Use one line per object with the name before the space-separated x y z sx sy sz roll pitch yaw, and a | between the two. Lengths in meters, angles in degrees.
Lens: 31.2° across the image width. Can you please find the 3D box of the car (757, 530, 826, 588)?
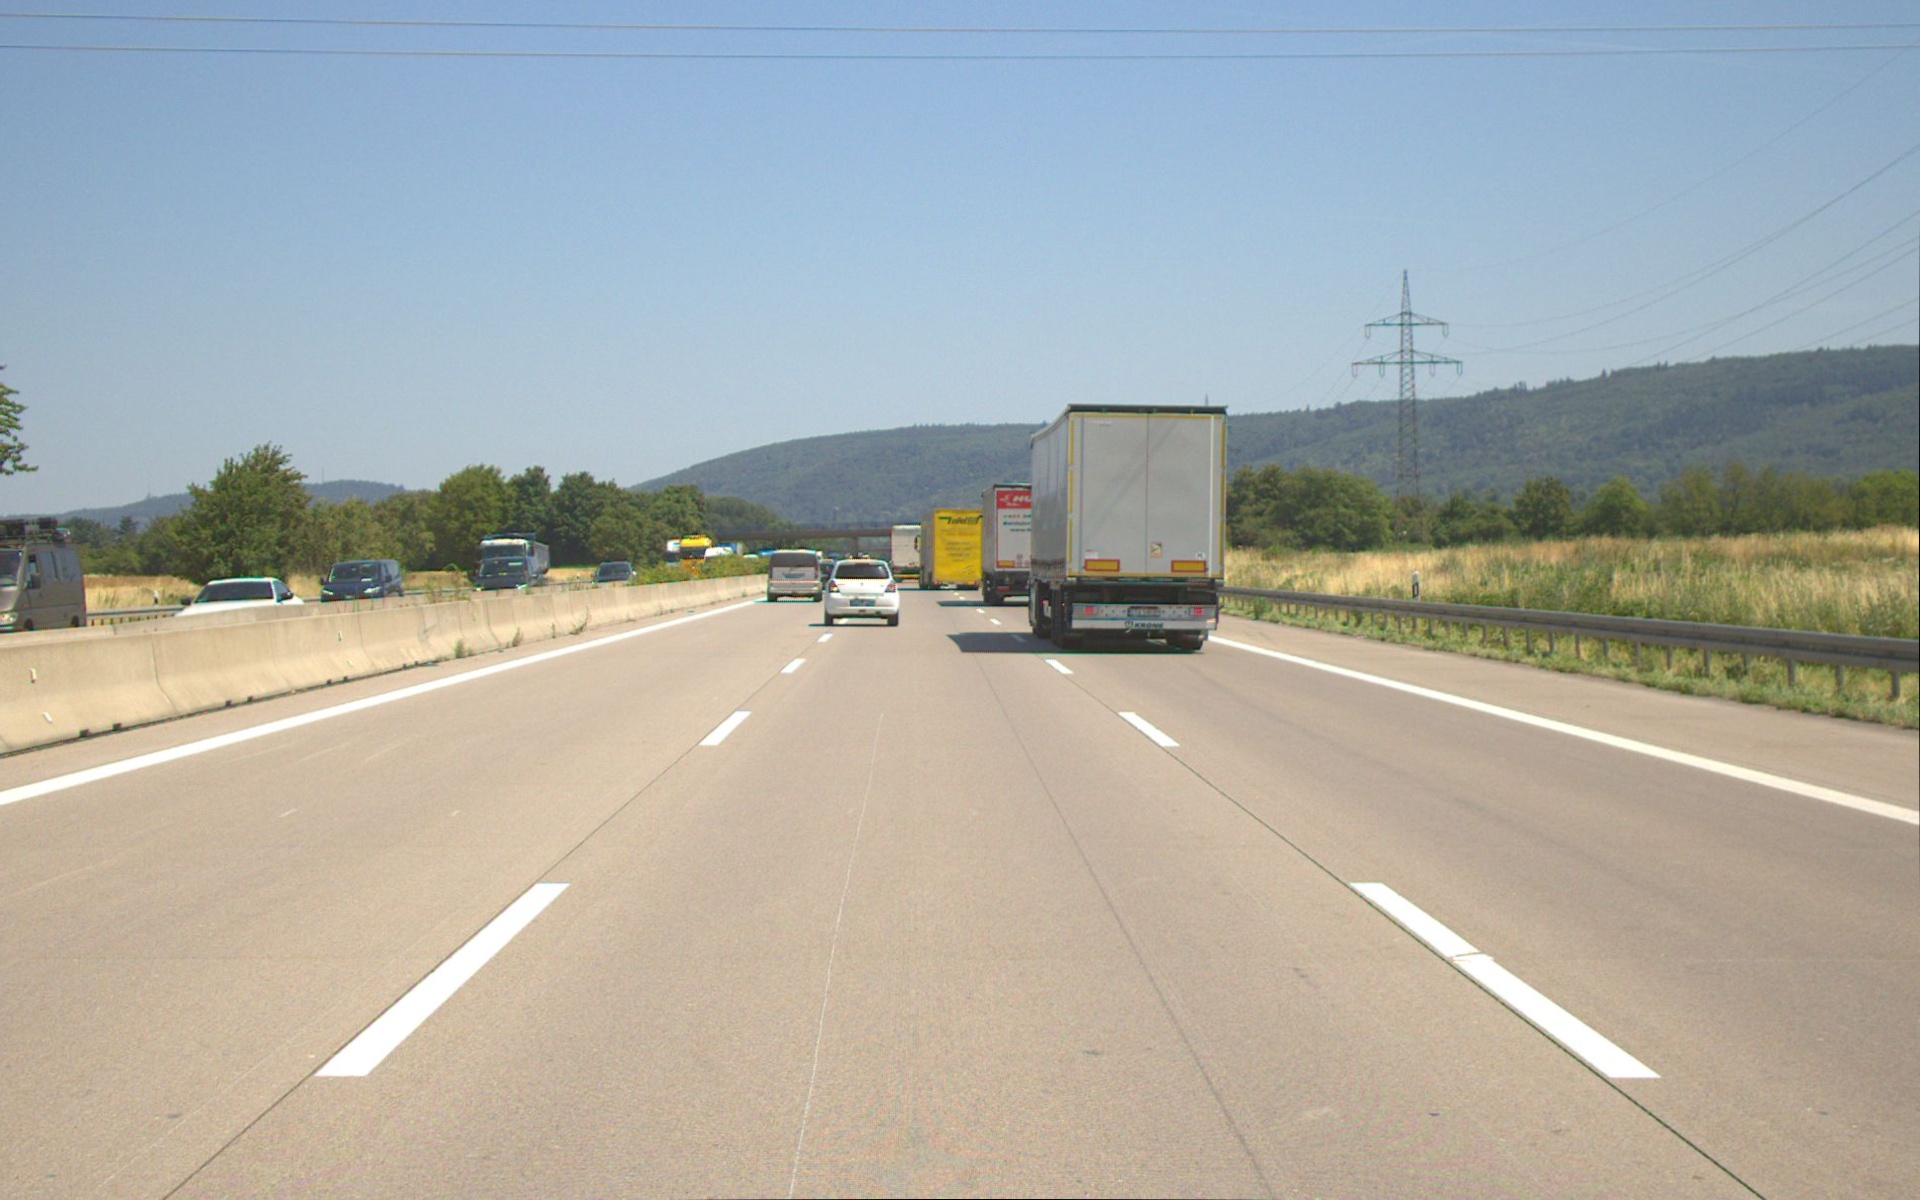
car | -6.068 -1.492 124.261 2.254 2.007 4.298 1 1 0

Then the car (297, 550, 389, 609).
car | -19.400 -0.651 108.289 2.170 1.784 4.000 1 1 0

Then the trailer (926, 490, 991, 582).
trailer | -0.117 -3.298 179.547 3.216 4.548 13.457 1 1 -1

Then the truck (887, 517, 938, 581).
truck | -3.259 -3.526 236.807 3.353 4.257 8.229 1 1 -1

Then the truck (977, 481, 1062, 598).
truck | 2.105 -2.162 124.427 2.905 4.086 6.272 1 1 0

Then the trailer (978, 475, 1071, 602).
trailer | 2.128 -2.081 118.419 2.874 4.086 13.513 1 1 0

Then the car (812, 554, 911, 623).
car | -2.236 -0.288 79.117 2.107 1.530 4.122 1 1 1

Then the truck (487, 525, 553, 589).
truck | -23.083 -2.251 180.392 2.806 3.293 5.614 1 1 -1

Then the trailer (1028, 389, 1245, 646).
trailer | 2.947 -1.408 61.772 3.018 4.047 14.207 1 1 0

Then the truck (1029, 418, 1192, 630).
truck | 2.961 -1.512 69.117 2.984 4.048 5.478 1 1 0

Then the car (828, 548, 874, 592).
car | -4.955 -1.360 156.635 1.993 1.950 4.000 1 1 0

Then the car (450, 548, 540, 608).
car | -14.620 -0.719 108.276 1.993 1.820 5.825 1 1 0

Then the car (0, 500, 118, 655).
car | -17.931 -0.456 65.143 2.248 2.777 6.792 1 1 0

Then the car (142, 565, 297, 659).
car | -13.738 0.187 64.040 1.872 1.646 5.108 1 1 -1
